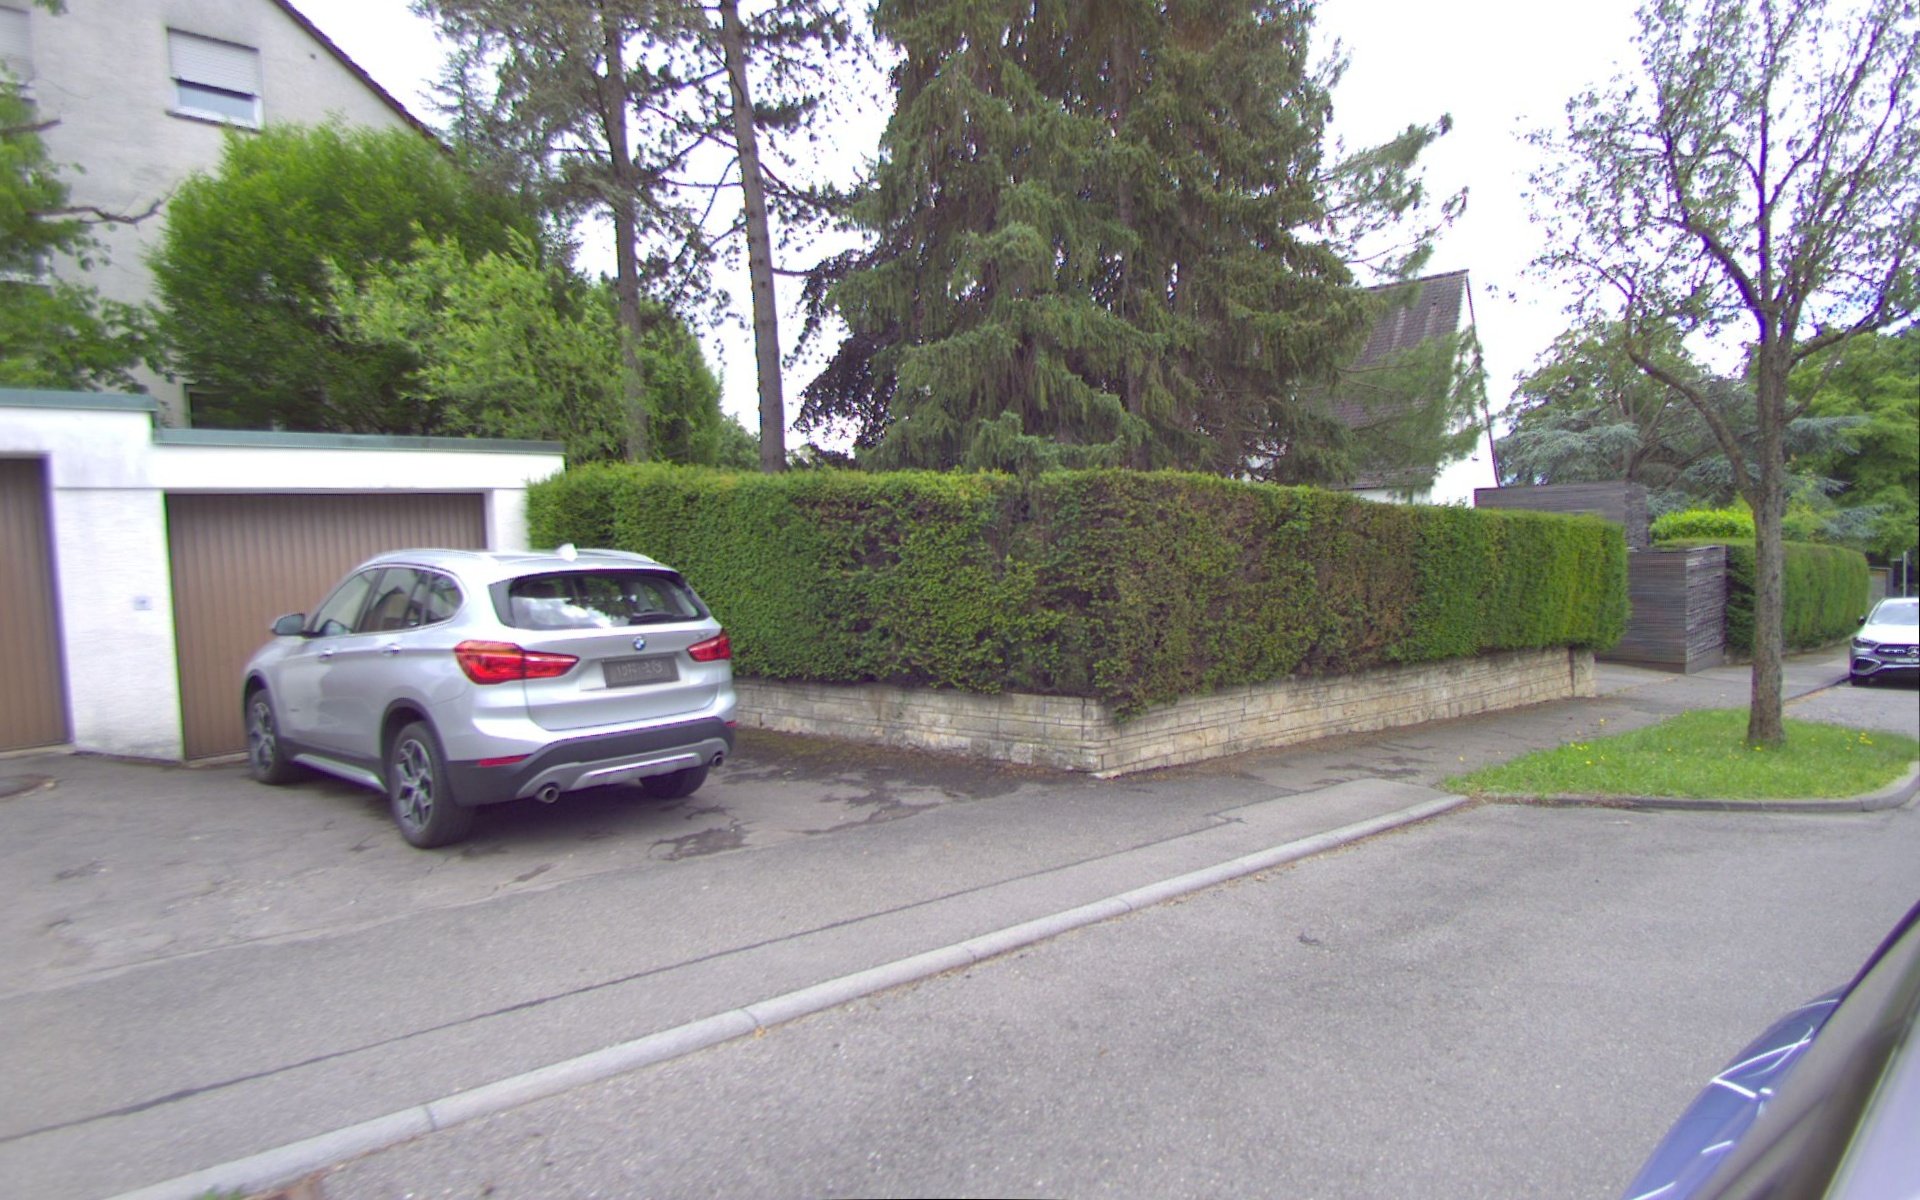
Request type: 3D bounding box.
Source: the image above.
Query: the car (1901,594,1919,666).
[{"bbox_3d":[22.095,0.628,22.205,4.102,1.482,1.857,-1,0,-43],"label":"car"}]

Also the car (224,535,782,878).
[{"bbox_3d":[-3.277,0.445,6.849,4.203,1.619,1.855,2,1,41],"label":"car"}]

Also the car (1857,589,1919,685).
[{"bbox_3d":[17.843,0.610,18.460,4.102,1.602,1.857,-1,0,-43],"label":"car"}]
